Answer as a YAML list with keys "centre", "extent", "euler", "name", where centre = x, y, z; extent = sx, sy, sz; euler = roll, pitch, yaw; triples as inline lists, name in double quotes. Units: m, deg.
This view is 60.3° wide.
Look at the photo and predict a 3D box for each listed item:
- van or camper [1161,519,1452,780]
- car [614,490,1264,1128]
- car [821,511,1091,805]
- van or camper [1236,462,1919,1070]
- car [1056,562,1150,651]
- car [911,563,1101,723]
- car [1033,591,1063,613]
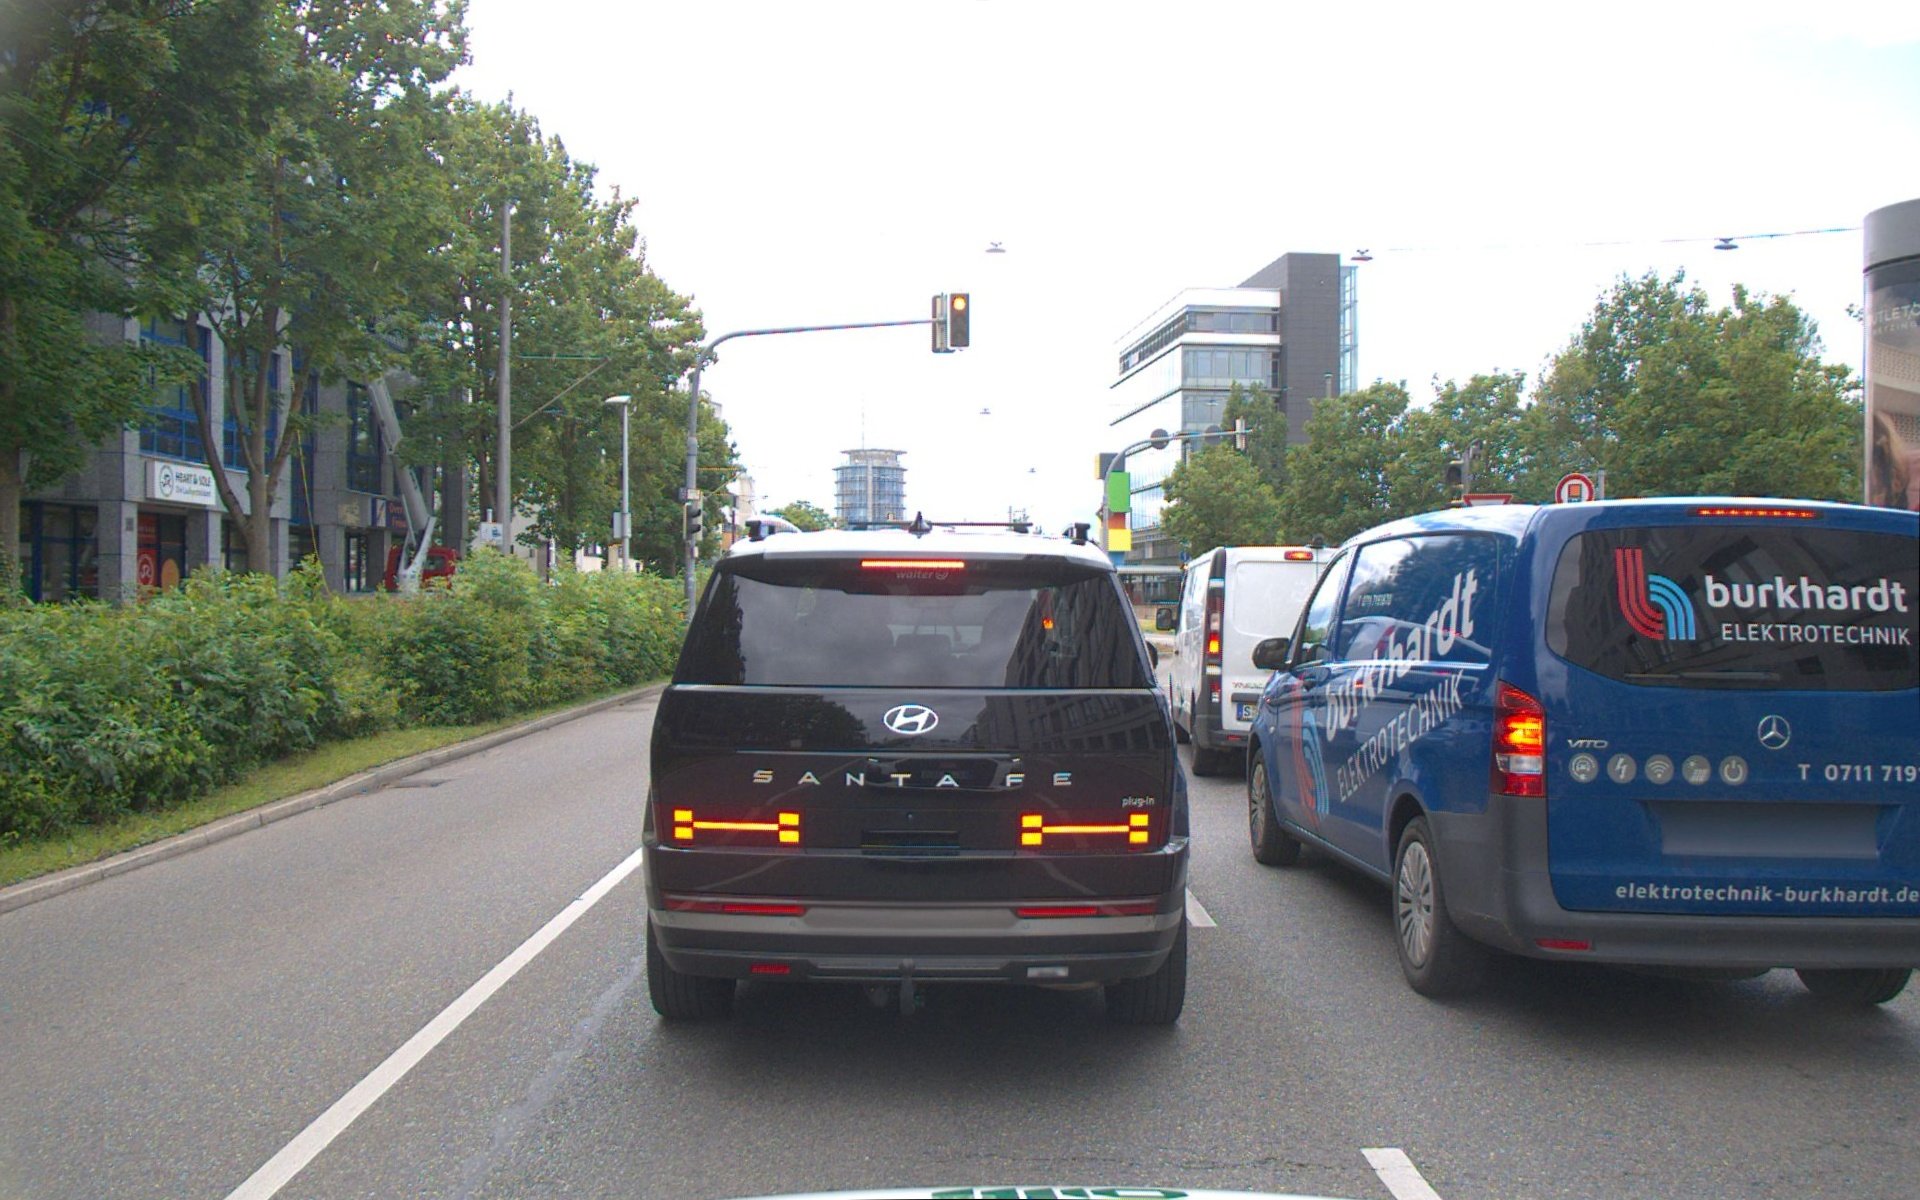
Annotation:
- centre: [3.033, 0.384, 15.464]
  extent: [1.952, 2.049, 4.654]
  euler: [1, 0, 3]
  name: "van or camper"
- centre: [-0.081, 0.579, 6.605]
  extent: [1.831, 1.791, 3.879]
  euler: [0, 0, -1]
  name: "car"
- centre: [-0.055, 0.393, 13.455]
  extent: [1.876, 2.038, 3.879]
  euler: [0, 0, -1]
  name: "car"
- centre: [2.665, 0.520, 7.827]
  extent: [1.822, 1.944, 5.031]
  euler: [0, 0, -1]
  name: "van or camper"
- centre: [3.440, 0.174, 40.450]
  extent: [1.952, 2.049, 4.000]
  euler: [1, 0, 0]
  name: "car"
- centre: [0.687, 0.484, 20.438]
  extent: [1.738, 1.747, 4.342]
  euler: [1, 0, 10]
  name: "car"
- centre: [7.020, 0.170, 131.923]
  extent: [1.954, 1.713, 3.997]
  euler: [1, 0, -3]
  name: "car"
